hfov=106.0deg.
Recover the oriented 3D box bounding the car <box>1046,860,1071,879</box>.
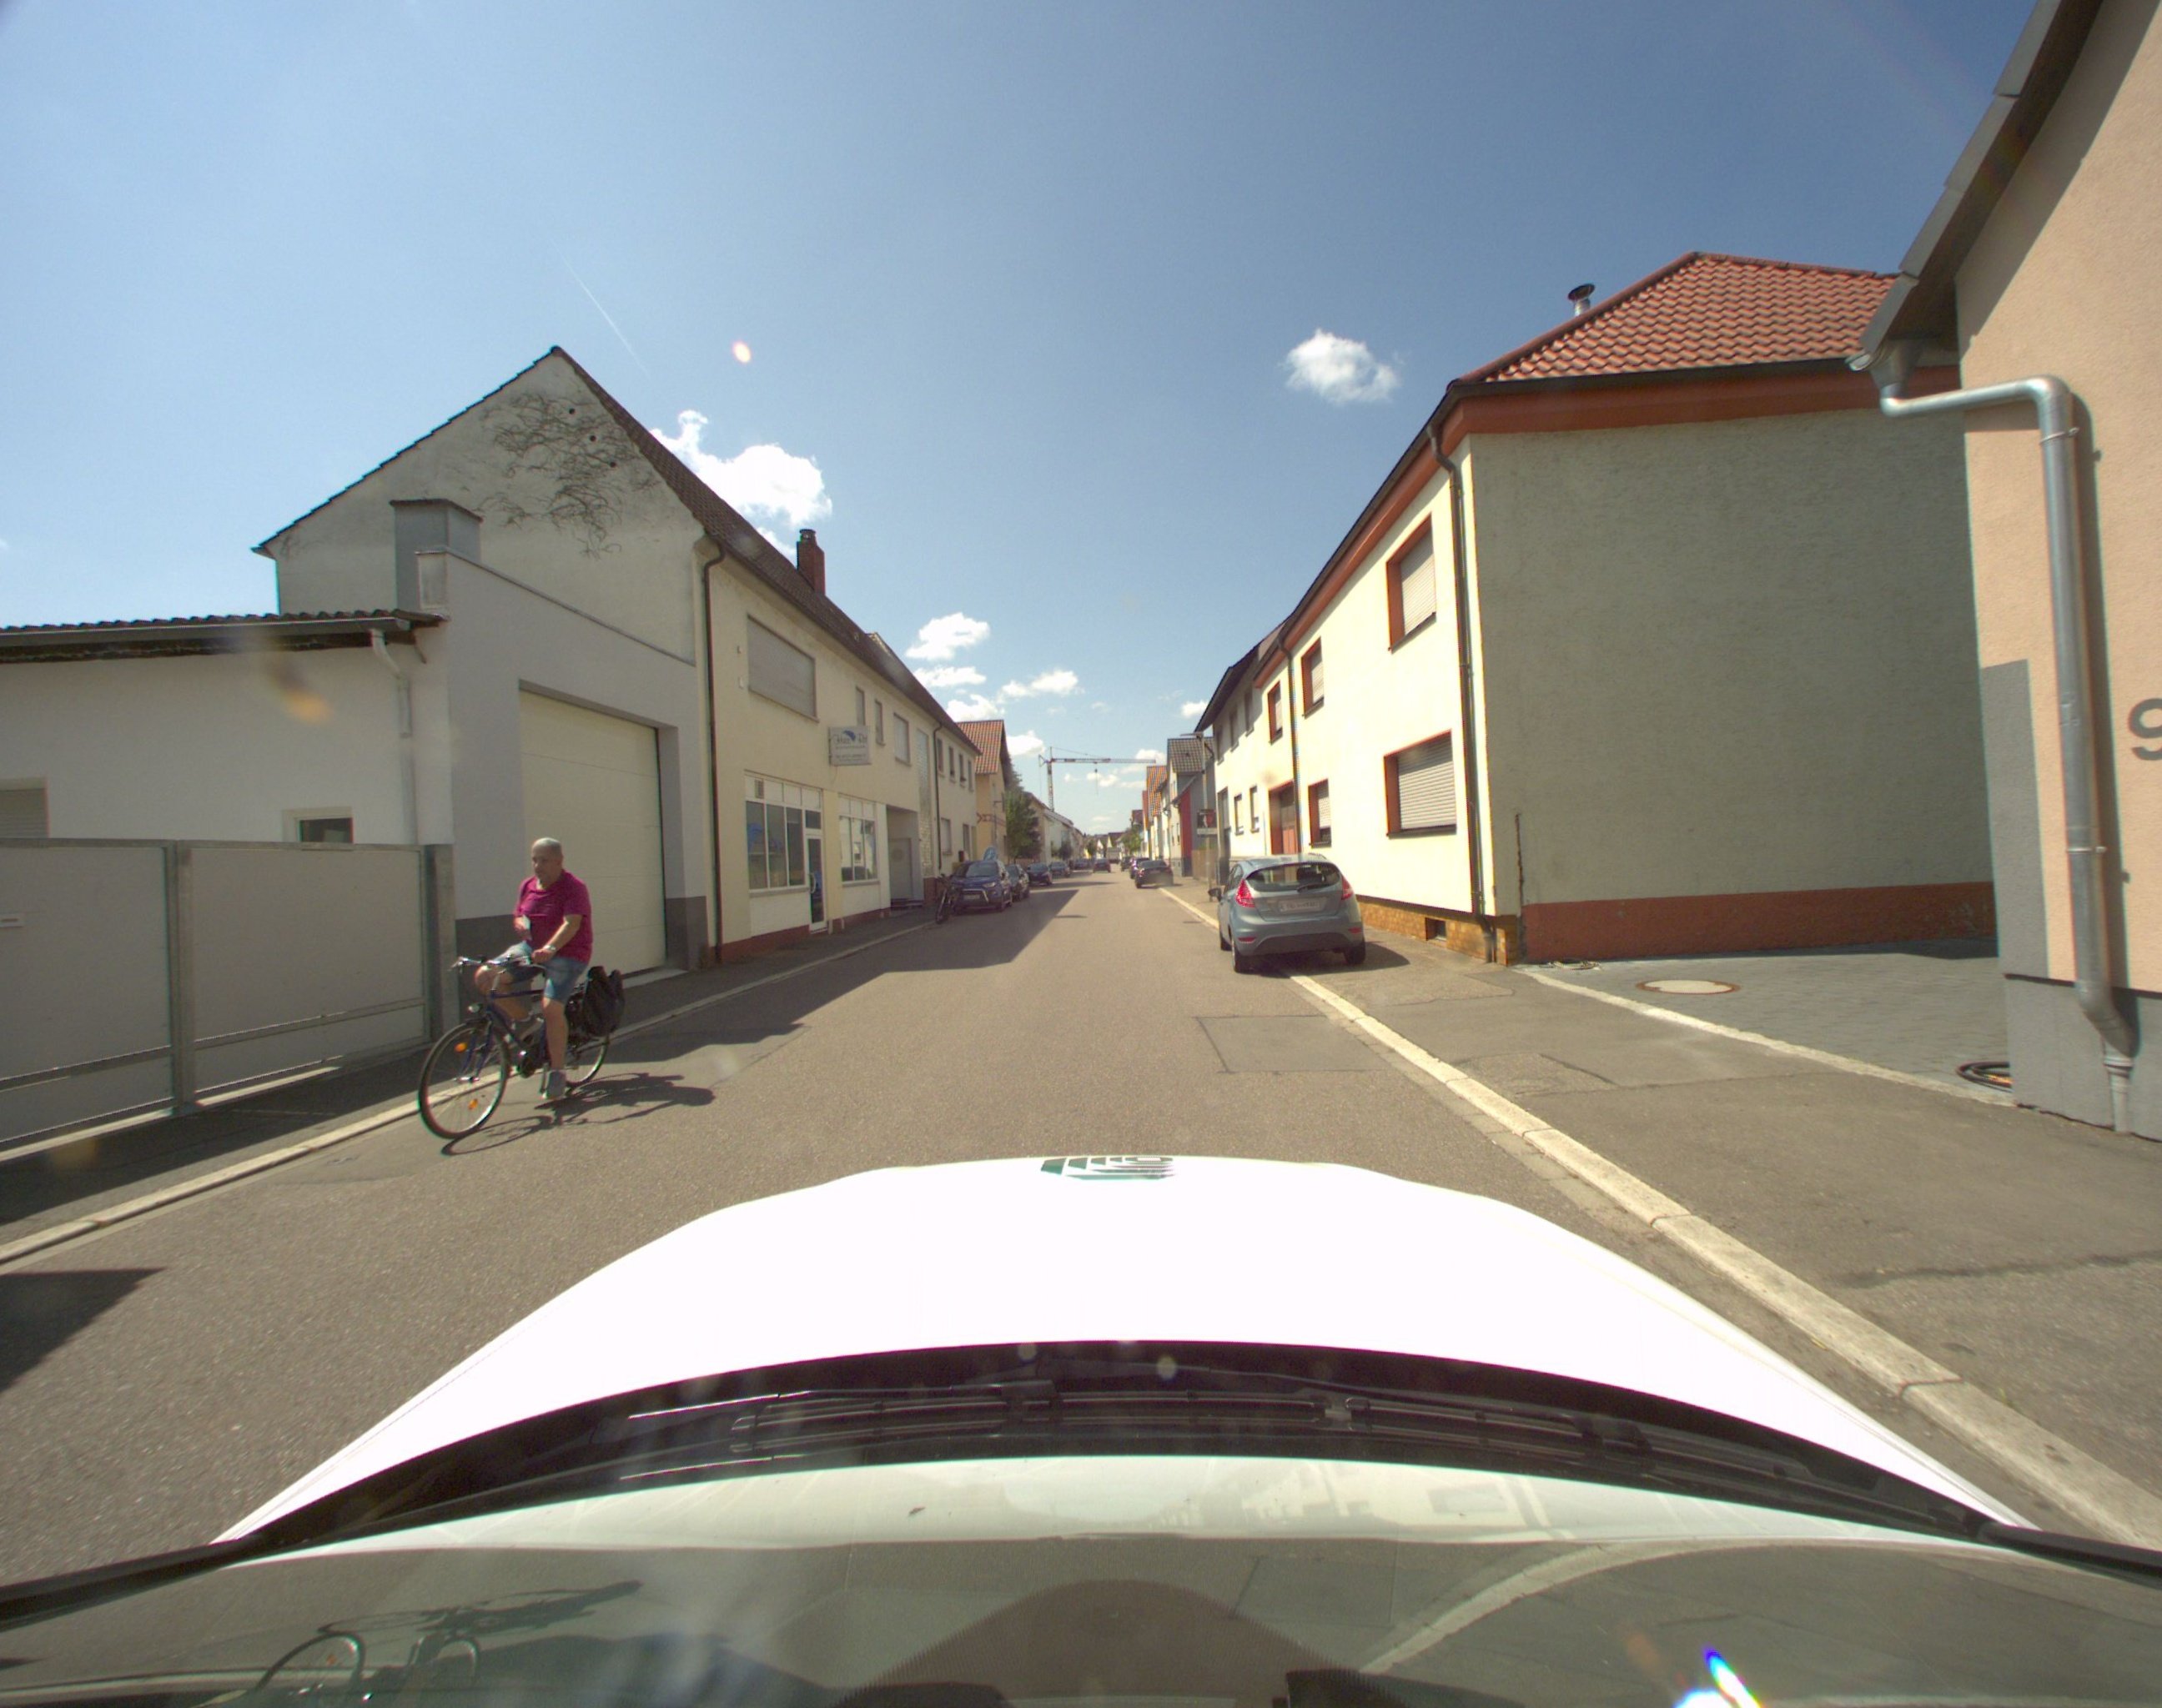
[{"bbox_3d":[-1.977,1.349,71.836,1.760,1.460,4.440,-3,0,4],"label":"car"}]

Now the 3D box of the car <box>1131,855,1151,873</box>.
[{"bbox_3d":[5.674,0.950,77.133,1.611,1.495,3.973,-5,0,2],"label":"car"}]

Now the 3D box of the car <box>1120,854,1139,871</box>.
[{"bbox_3d":[5.309,0.964,89.189,1.723,1.717,4.275,-3,0,0],"label":"car"}]

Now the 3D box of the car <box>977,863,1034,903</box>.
[{"bbox_3d":[-2.978,1.126,33.074,1.691,1.411,4.392,-3,0,2],"label":"car"}]

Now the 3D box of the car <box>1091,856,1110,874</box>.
[{"bbox_3d":[2.031,1.152,84.716,1.776,1.753,4.000,-4,-1,1],"label":"car"}]

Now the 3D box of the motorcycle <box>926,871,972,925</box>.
[{"bbox_3d":[-3.572,1.165,22.216,0.805,1.312,2.106,-3,0,1],"label":"motorcycle"}]

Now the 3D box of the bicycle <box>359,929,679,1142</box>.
[{"bbox_3d":[-3.762,1.151,5.716,0.739,1.047,1.943,-2,0,5],"label":"bicycle"}]

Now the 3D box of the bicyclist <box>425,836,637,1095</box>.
[{"bbox_3d":[-3.780,0.717,5.683,0.743,1.637,0.958,-2,-1,5],"label":"bicyclist"}]

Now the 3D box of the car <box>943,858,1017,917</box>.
[{"bbox_3d":[-3.207,1.025,26.515,1.711,1.639,4.149,-5,0,1],"label":"car"}]

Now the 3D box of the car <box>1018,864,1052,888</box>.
[{"bbox_3d":[-2.812,1.321,50.804,1.755,1.374,4.068,-2,0,2],"label":"car"}]

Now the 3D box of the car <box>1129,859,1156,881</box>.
[{"bbox_3d":[4.260,1.108,56.810,1.682,1.422,3.658,-3,0,2],"label":"car"}]

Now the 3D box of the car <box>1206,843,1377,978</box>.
[{"bbox_3d":[2.837,0.694,11.767,1.713,1.481,3.756,-6,-1,6],"label":"car"}]

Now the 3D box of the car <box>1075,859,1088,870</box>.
[{"bbox_3d":[0.135,1.482,121.319,1.752,1.525,4.290,-3,0,1],"label":"car"}]

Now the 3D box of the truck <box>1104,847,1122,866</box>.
[{"bbox_3d":[6.896,0.590,176.437,3.367,3.865,13.926,-4,-1,1],"label":"truck"}]

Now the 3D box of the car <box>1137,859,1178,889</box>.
[{"bbox_3d":[3.717,0.951,40.156,1.808,1.276,4.149,-3,0,3],"label":"car"}]

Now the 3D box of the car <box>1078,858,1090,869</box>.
[{"bbox_3d":[0.443,1.526,128.142,1.647,1.609,4.062,-3,0,1],"label":"car"}]

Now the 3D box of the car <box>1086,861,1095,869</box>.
[{"bbox_3d":[2.034,2.326,167.417,1.716,1.555,4.175,-2,0,3],"label":"car"}]
